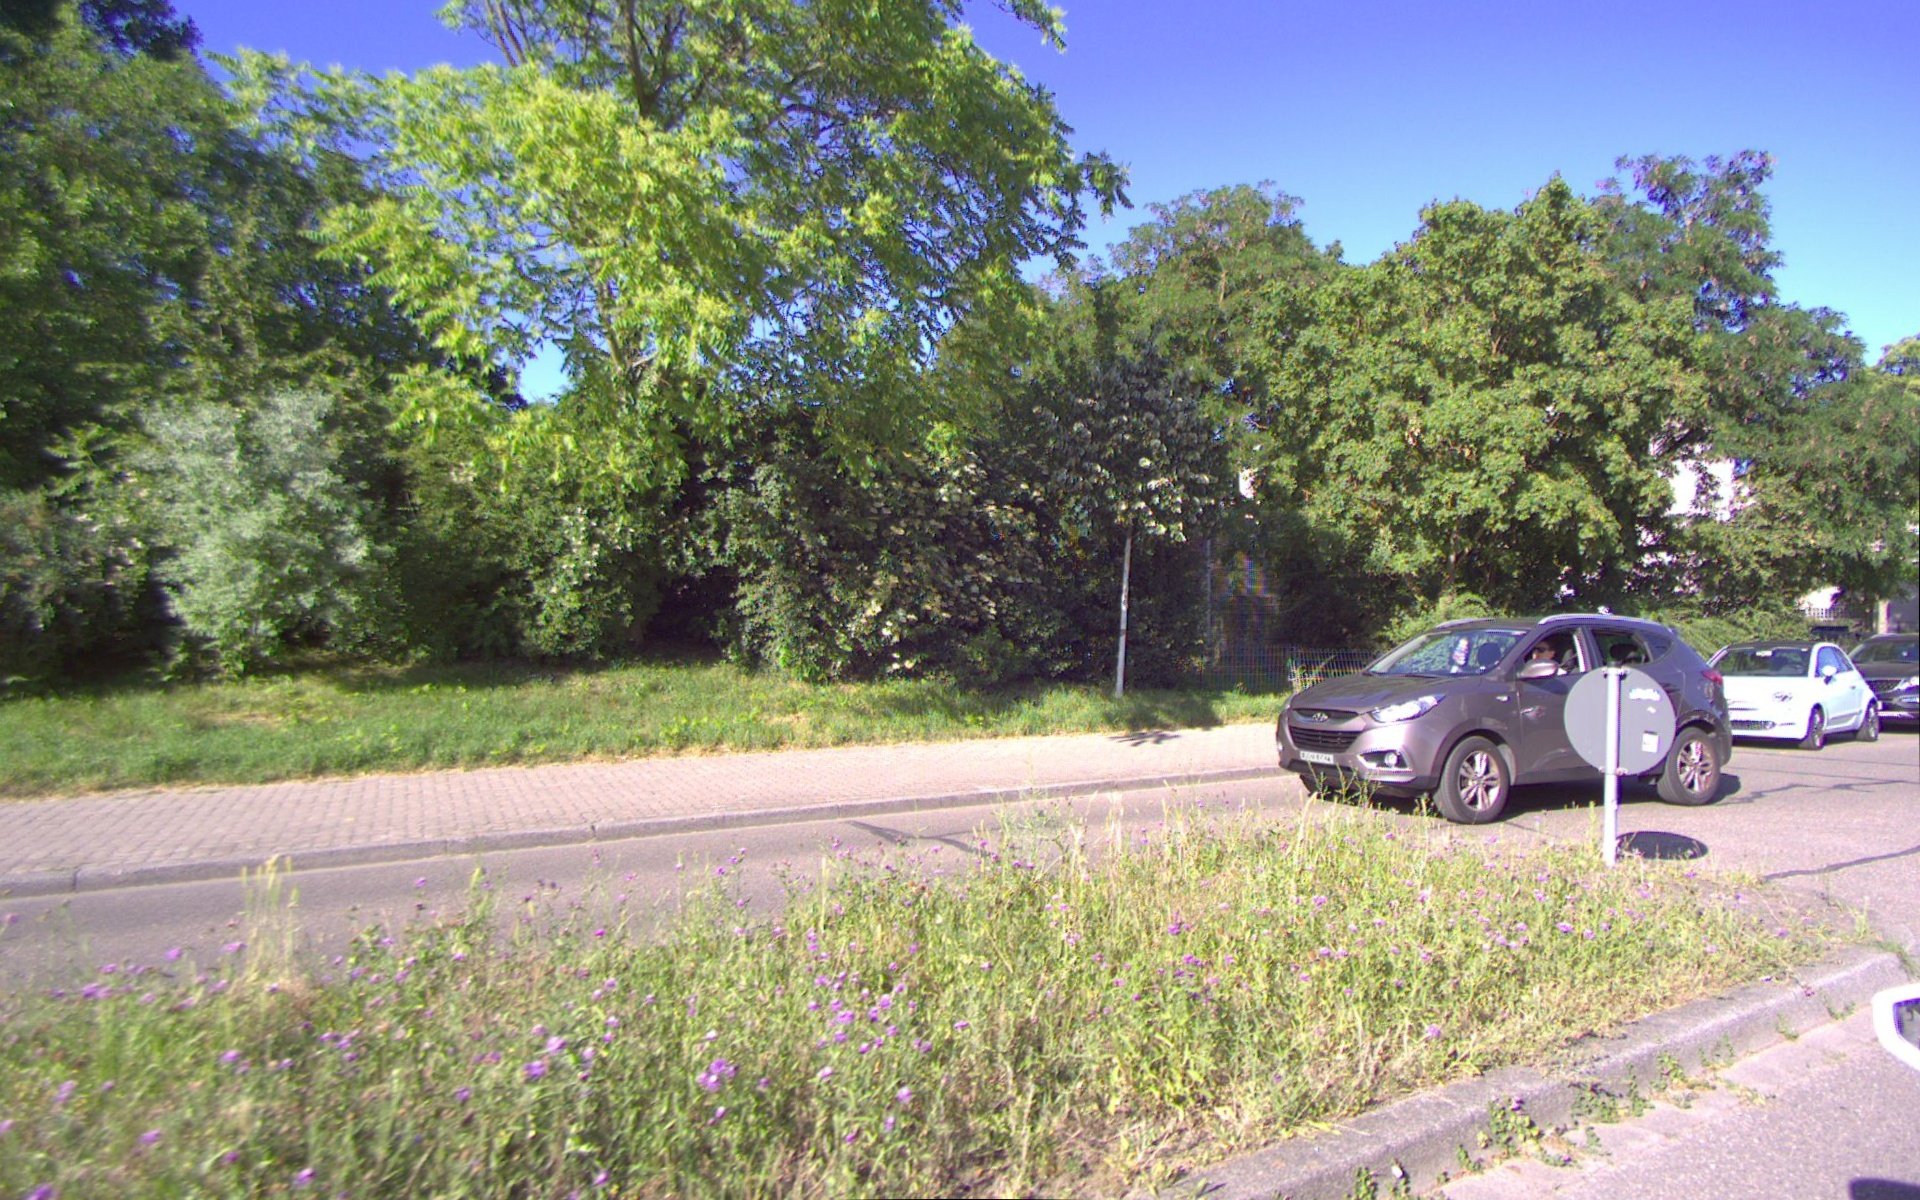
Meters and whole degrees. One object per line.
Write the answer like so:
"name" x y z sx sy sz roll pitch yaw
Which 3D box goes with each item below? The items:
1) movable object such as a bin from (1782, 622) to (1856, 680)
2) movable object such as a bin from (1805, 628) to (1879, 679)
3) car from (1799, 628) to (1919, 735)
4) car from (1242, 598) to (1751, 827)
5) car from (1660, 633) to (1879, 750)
"movable object such as a bin" 23.938 1.399 28.006 1.266 1.572 1.251 2 -2 -33
"movable object such as a bin" 25.481 1.522 29.023 1.247 1.420 1.270 1 -2 -29
"car" 16.419 1.338 17.216 4.197 1.660 1.668 1 -3 -28
"car" 4.895 0.919 9.244 4.123 1.728 1.910 1 -3 -21
"car" 12.101 1.274 14.981 3.384 1.547 1.616 1 -2 -34
